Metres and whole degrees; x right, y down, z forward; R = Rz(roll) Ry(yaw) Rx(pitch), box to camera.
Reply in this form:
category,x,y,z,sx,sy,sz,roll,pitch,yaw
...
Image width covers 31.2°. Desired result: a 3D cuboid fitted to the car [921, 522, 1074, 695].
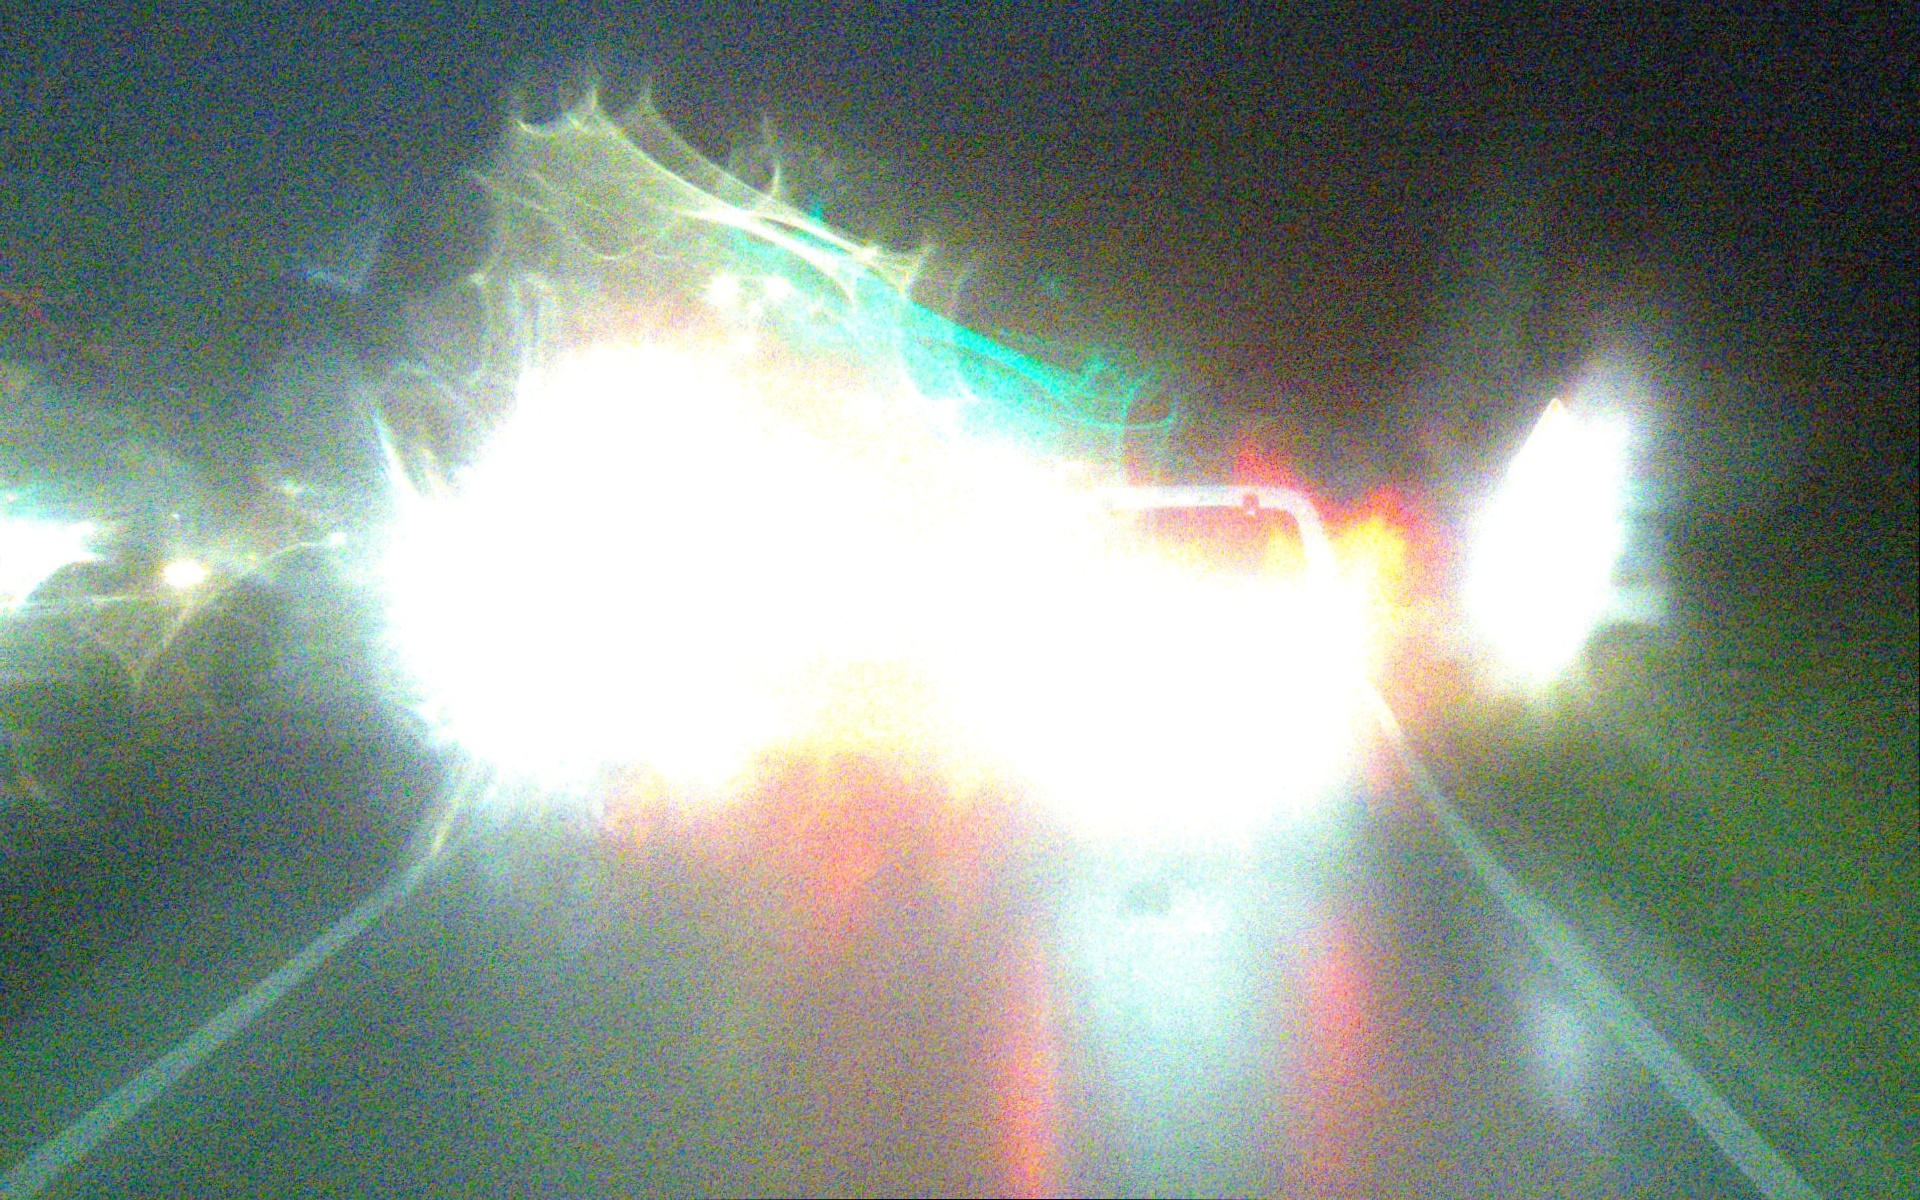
category,x,y,z,sx,sy,sz,roll,pitch,yaw
car,0.515,0.052,43.688,1.791,2.015,4.580,-1,1,2

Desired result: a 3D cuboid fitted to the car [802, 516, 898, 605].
category,x,y,z,sx,sy,sz,roll,pitch,yaw
car,-2.377,-0.874,73.483,1.783,1.776,4.437,-2,2,-5

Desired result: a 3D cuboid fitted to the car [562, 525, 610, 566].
category,x,y,z,sx,sy,sz,roll,pitch,yaw
car,-14.903,-2.153,137.107,1.801,1.582,4.032,0,1,-5

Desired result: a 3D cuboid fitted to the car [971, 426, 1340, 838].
category,x,y,z,sx,sy,sz,roll,pitch,yaw
car,1.043,0.103,19.475,1.791,2.015,4.580,-1,1,2
